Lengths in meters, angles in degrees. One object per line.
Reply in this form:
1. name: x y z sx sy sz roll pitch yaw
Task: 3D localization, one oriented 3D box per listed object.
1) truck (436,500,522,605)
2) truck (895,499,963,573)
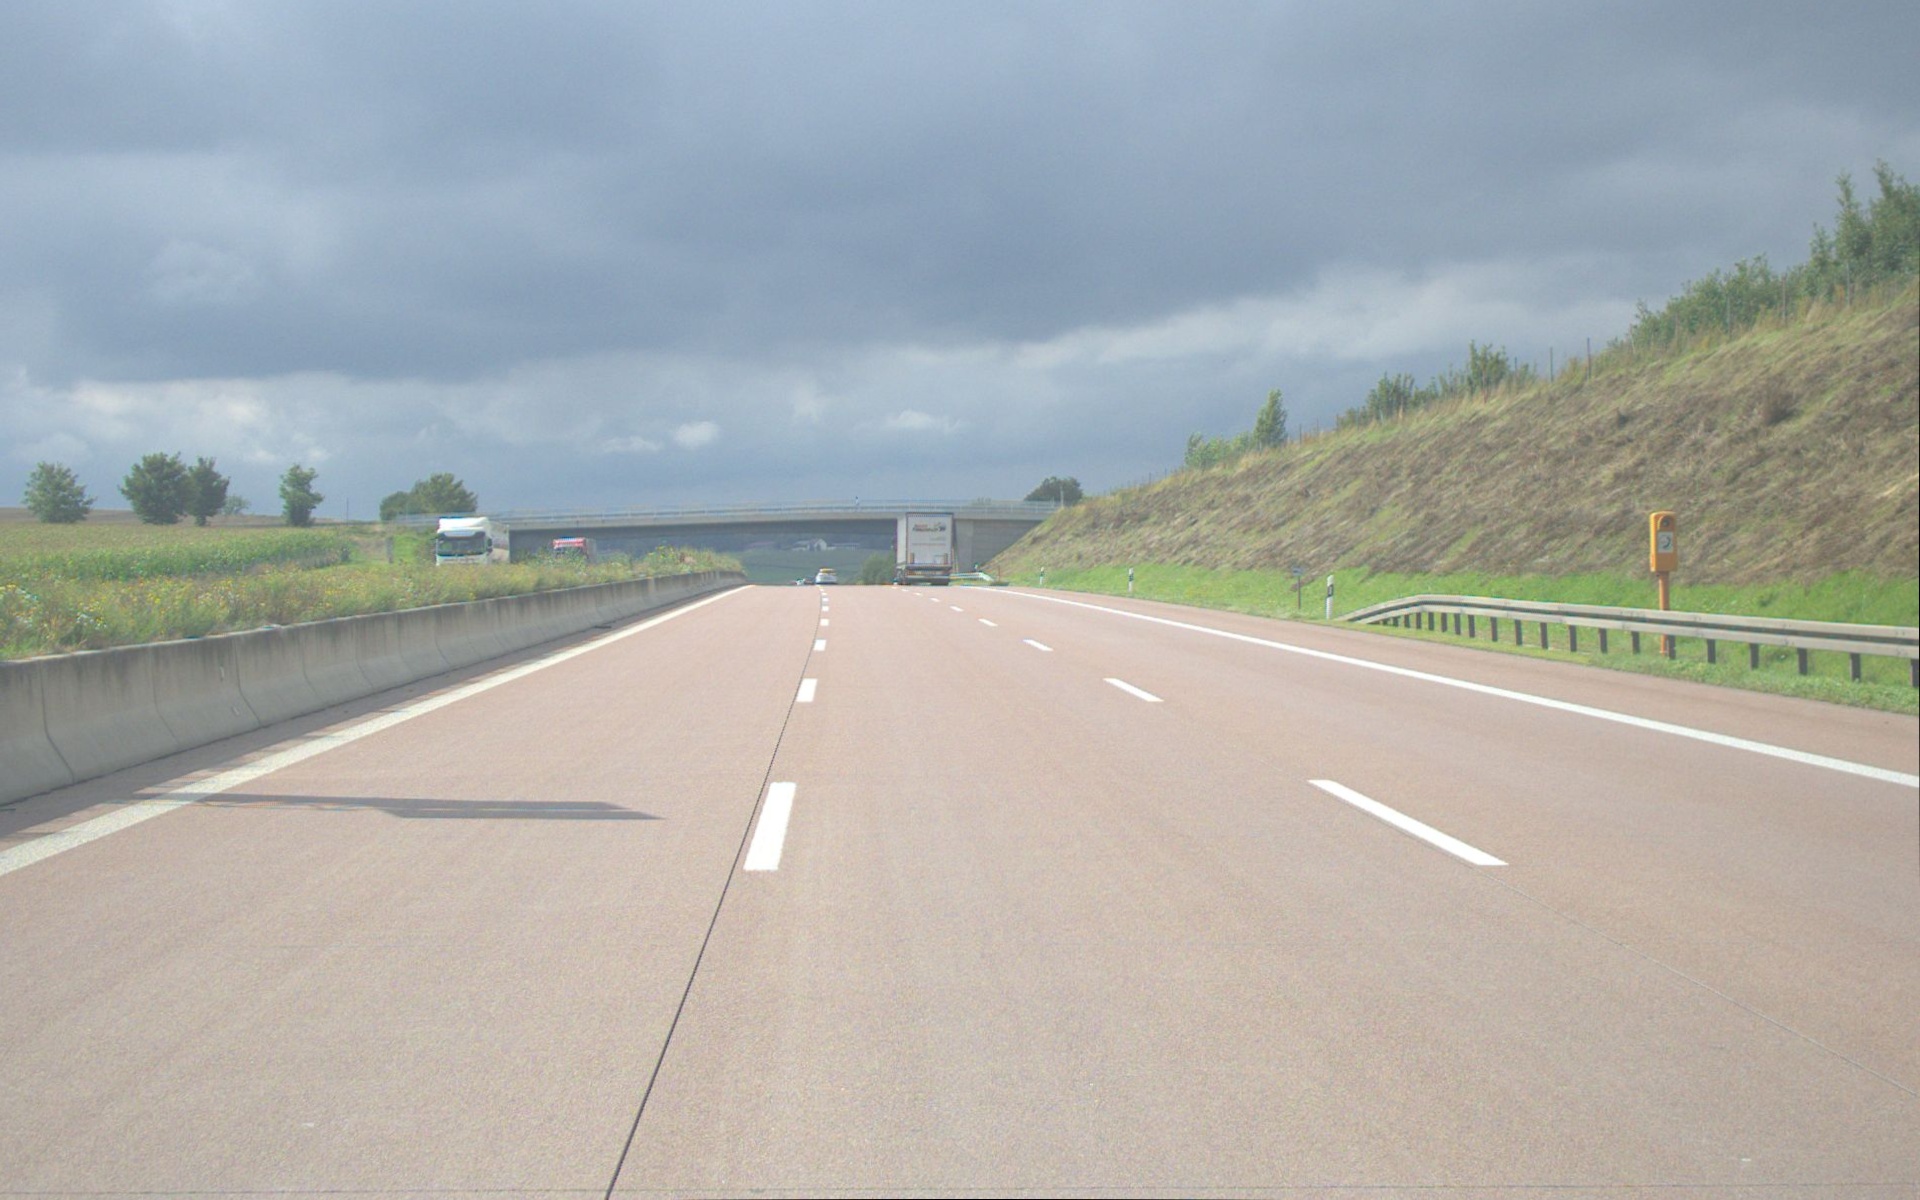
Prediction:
1. truck: -24.096 -2.445 172.776 2.990 5.048 10.986 1 1 -2
2. truck: -1.754 -3.591 192.335 3.617 3.932 11.175 1 1 -1
